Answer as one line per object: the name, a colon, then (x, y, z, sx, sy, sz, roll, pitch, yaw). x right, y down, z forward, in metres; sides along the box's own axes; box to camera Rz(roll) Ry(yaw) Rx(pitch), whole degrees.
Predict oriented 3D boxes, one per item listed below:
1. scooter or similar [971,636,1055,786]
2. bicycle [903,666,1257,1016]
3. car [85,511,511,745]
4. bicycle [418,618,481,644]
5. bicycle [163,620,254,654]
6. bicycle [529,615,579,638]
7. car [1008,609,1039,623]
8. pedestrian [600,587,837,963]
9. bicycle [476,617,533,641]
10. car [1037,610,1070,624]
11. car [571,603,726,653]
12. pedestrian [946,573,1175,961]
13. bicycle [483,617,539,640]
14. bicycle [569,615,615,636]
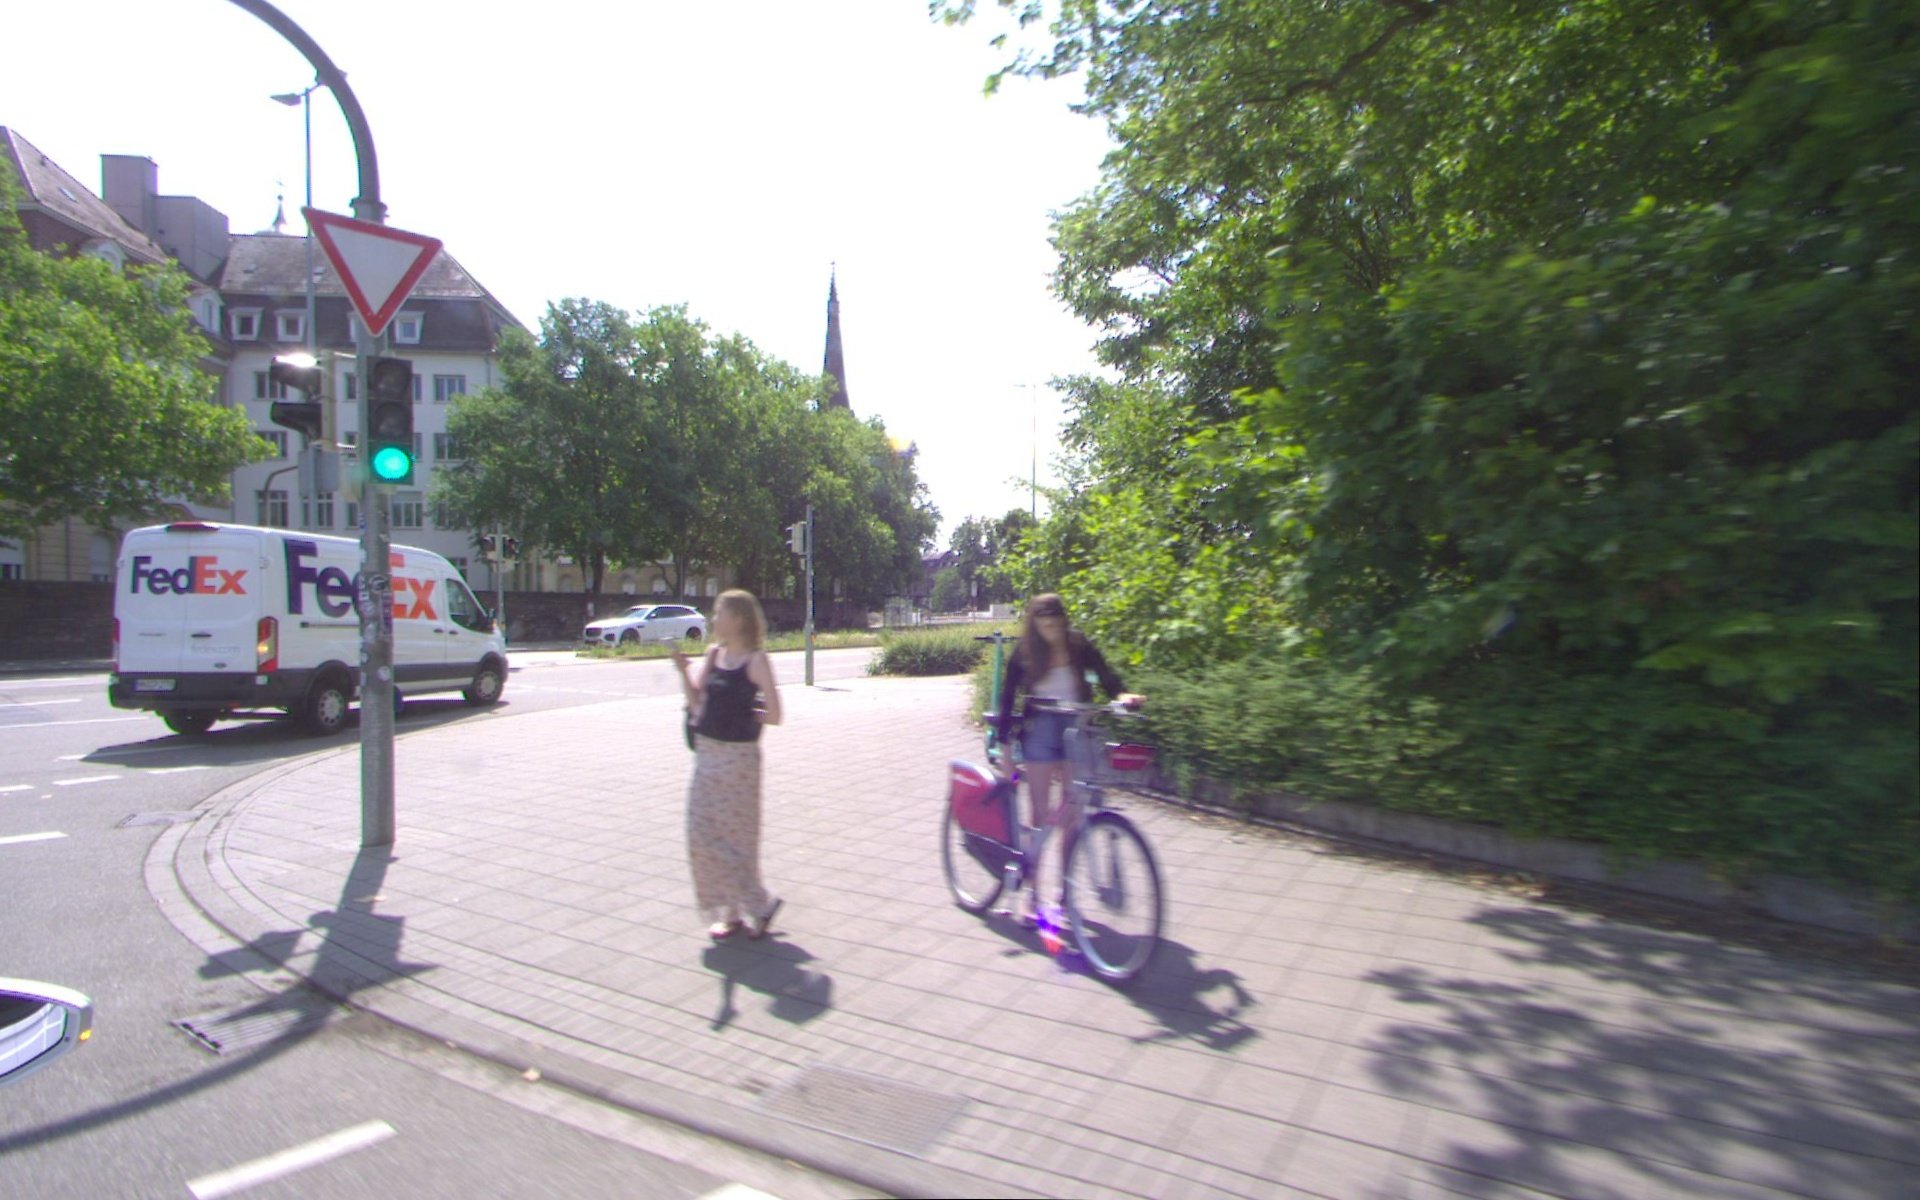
scooter or similar: (0.430, 0.903, 8.549, 0.282, 1.162, 1.175, 0, 0, -20)
bicycle: (0.444, 0.933, 4.507, 0.585, 1.142, 1.731, -3, 2, -33)
car: (-8.708, 0.333, 14.051, 2.061, 2.600, 5.602, 1, 0, 3)
bicycle: (-21.357, 1.283, 41.940, 0.742, 1.007, 2.381, 0, 0, 25)
bicycle: (-25.178, 1.217, 33.619, 0.742, 1.072, 2.381, 0, 0, 25)
bicycle: (-19.105, 1.240, 47.187, 0.741, 1.007, 2.382, 0, 0, 22)
car: (8.343, 2.160, 132.284, 3.808, 1.778, 1.568, 0, -1, 22)
pedestrian: (-1.140, 0.755, 4.794, 0.764, 1.597, 0.729, 0, 3, 33)
bicycle: (-20.284, 1.284, 44.638, 0.742, 1.007, 2.381, 0, 0, 25)
car: (11.869, 2.147, 127.113, 3.808, 1.778, 1.568, 0, -1, 22)
car: (-11.086, 0.954, 36.078, 1.973, 1.663, 5.275, 0, 0, 34)
pedestrian: (0.458, 0.691, 4.641, 0.717, 1.597, 0.729, -3, 2, -33)
bicycle: (-20.136, 1.258, 44.956, 0.713, 1.007, 2.380, 0, 0, 25)
bicycle: (-18.163, 1.239, 49.473, 0.741, 1.007, 2.382, 0, 0, 23)
